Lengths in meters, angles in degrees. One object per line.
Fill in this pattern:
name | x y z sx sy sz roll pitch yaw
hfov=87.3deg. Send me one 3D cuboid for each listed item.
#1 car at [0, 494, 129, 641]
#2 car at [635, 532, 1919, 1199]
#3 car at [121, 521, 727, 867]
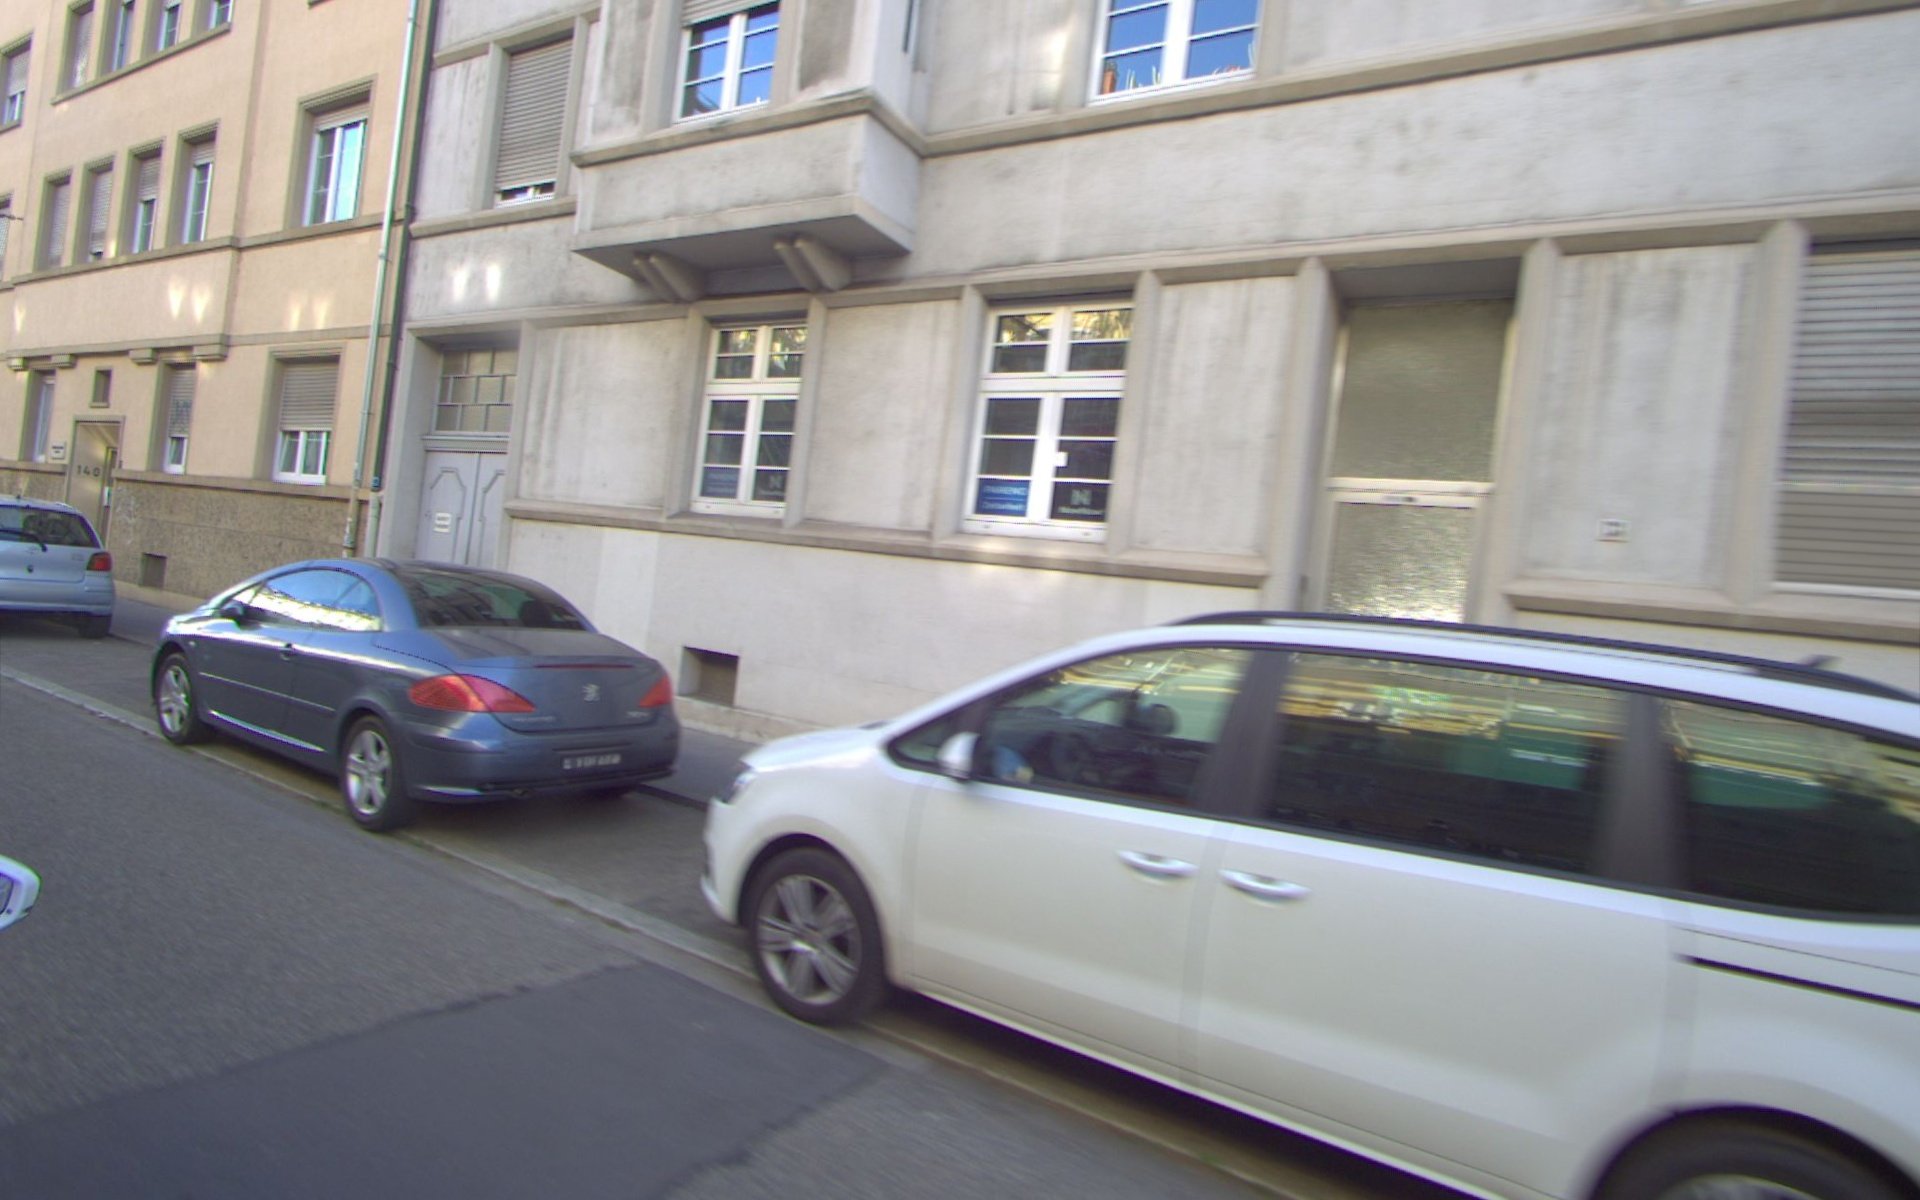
car | -11.280 -0.489 11.558 3.422 1.481 1.610 7 1 32
car | 1.076 0.845 3.771 4.513 1.715 1.710 7 1 31
car | -3.718 0.427 6.743 4.137 1.470 1.700 7 1 33
